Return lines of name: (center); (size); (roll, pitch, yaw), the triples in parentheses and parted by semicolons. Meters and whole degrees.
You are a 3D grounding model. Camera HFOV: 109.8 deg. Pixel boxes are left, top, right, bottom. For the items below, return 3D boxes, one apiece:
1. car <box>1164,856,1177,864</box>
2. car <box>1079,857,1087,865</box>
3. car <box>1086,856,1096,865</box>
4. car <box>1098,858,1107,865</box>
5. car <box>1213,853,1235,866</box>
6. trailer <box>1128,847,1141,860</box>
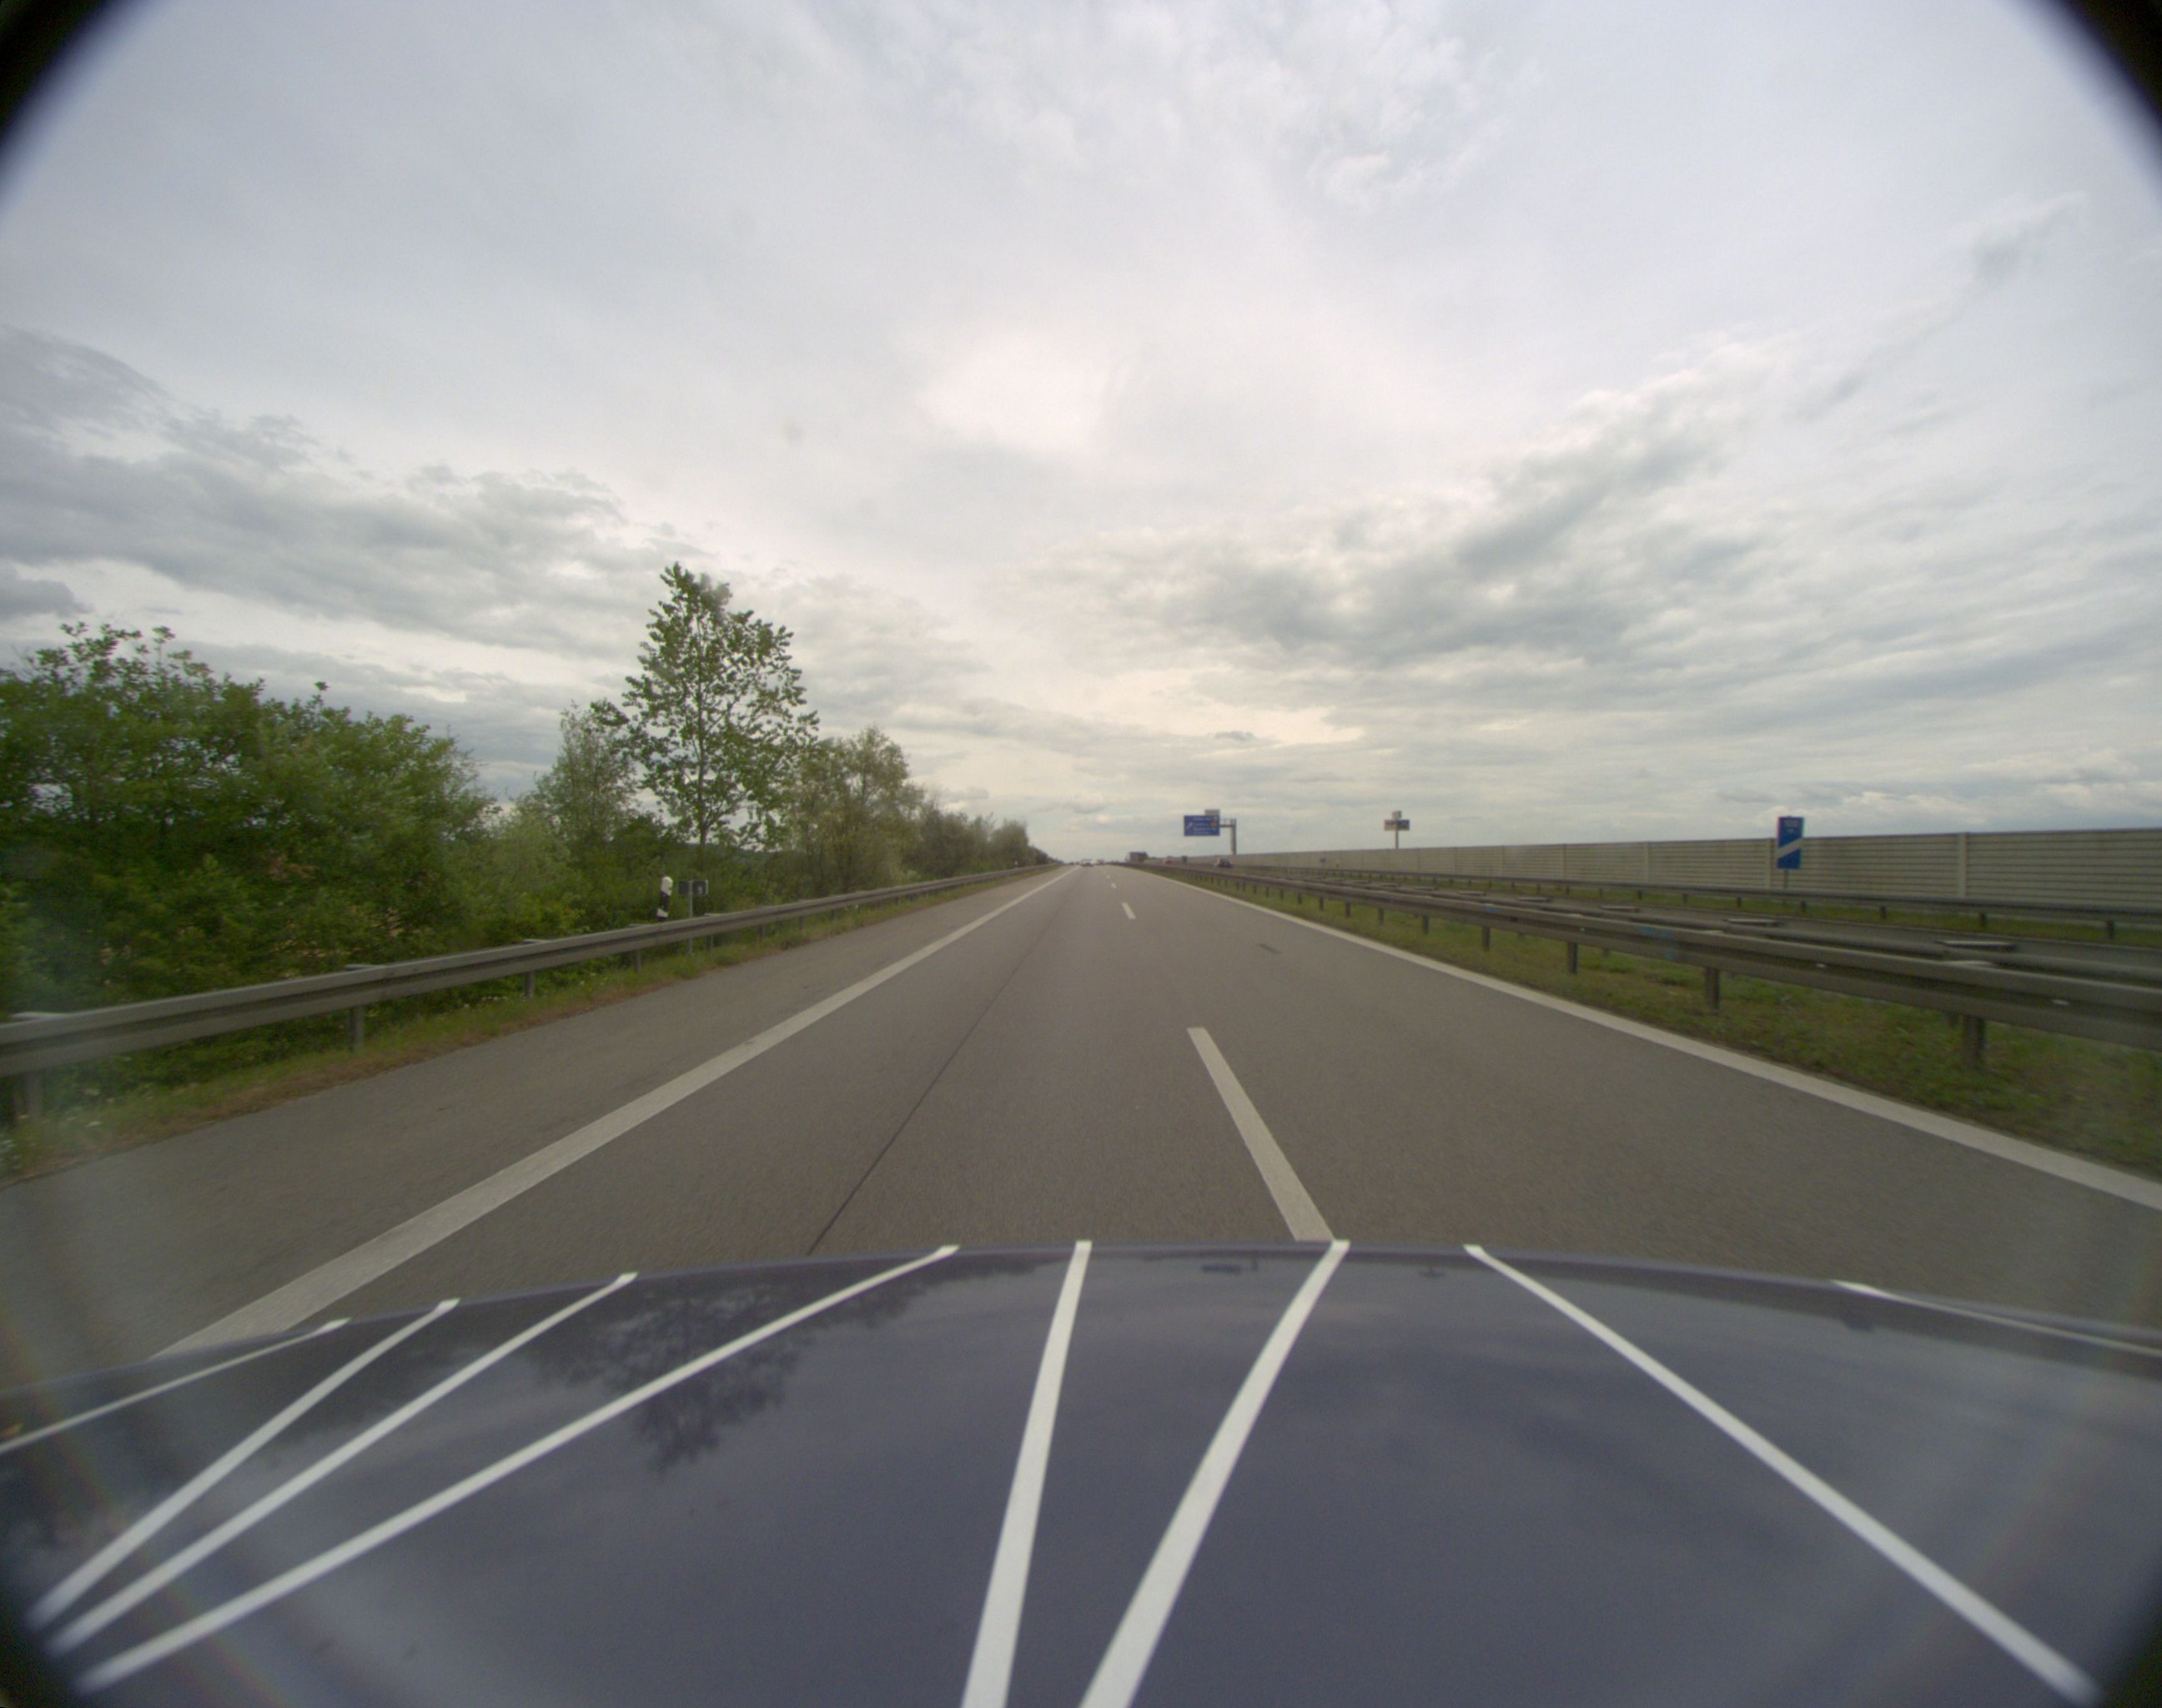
car: (16.544, 1.087, 140.822); (1.822, 1.395, 4.876); (0, 0, 1)
car: (0.465, 1.678, 182.169); (1.851, 1.849, 4.000); (0, -1, -3)
car: (1.787, 1.221, 140.002); (1.850, 1.664, 4.200); (0, -1, 0)
car: (5.049, 1.785, 178.047); (1.850, 1.664, 4.200); (0, -1, 0)
car: (16.556, 0.607, 88.225); (1.662, 1.321, 4.609); (3, 0, 1)
trailer: (16.903, -0.202, 239.738); (3.187, 4.052, 14.024); (1, 0, 0)
